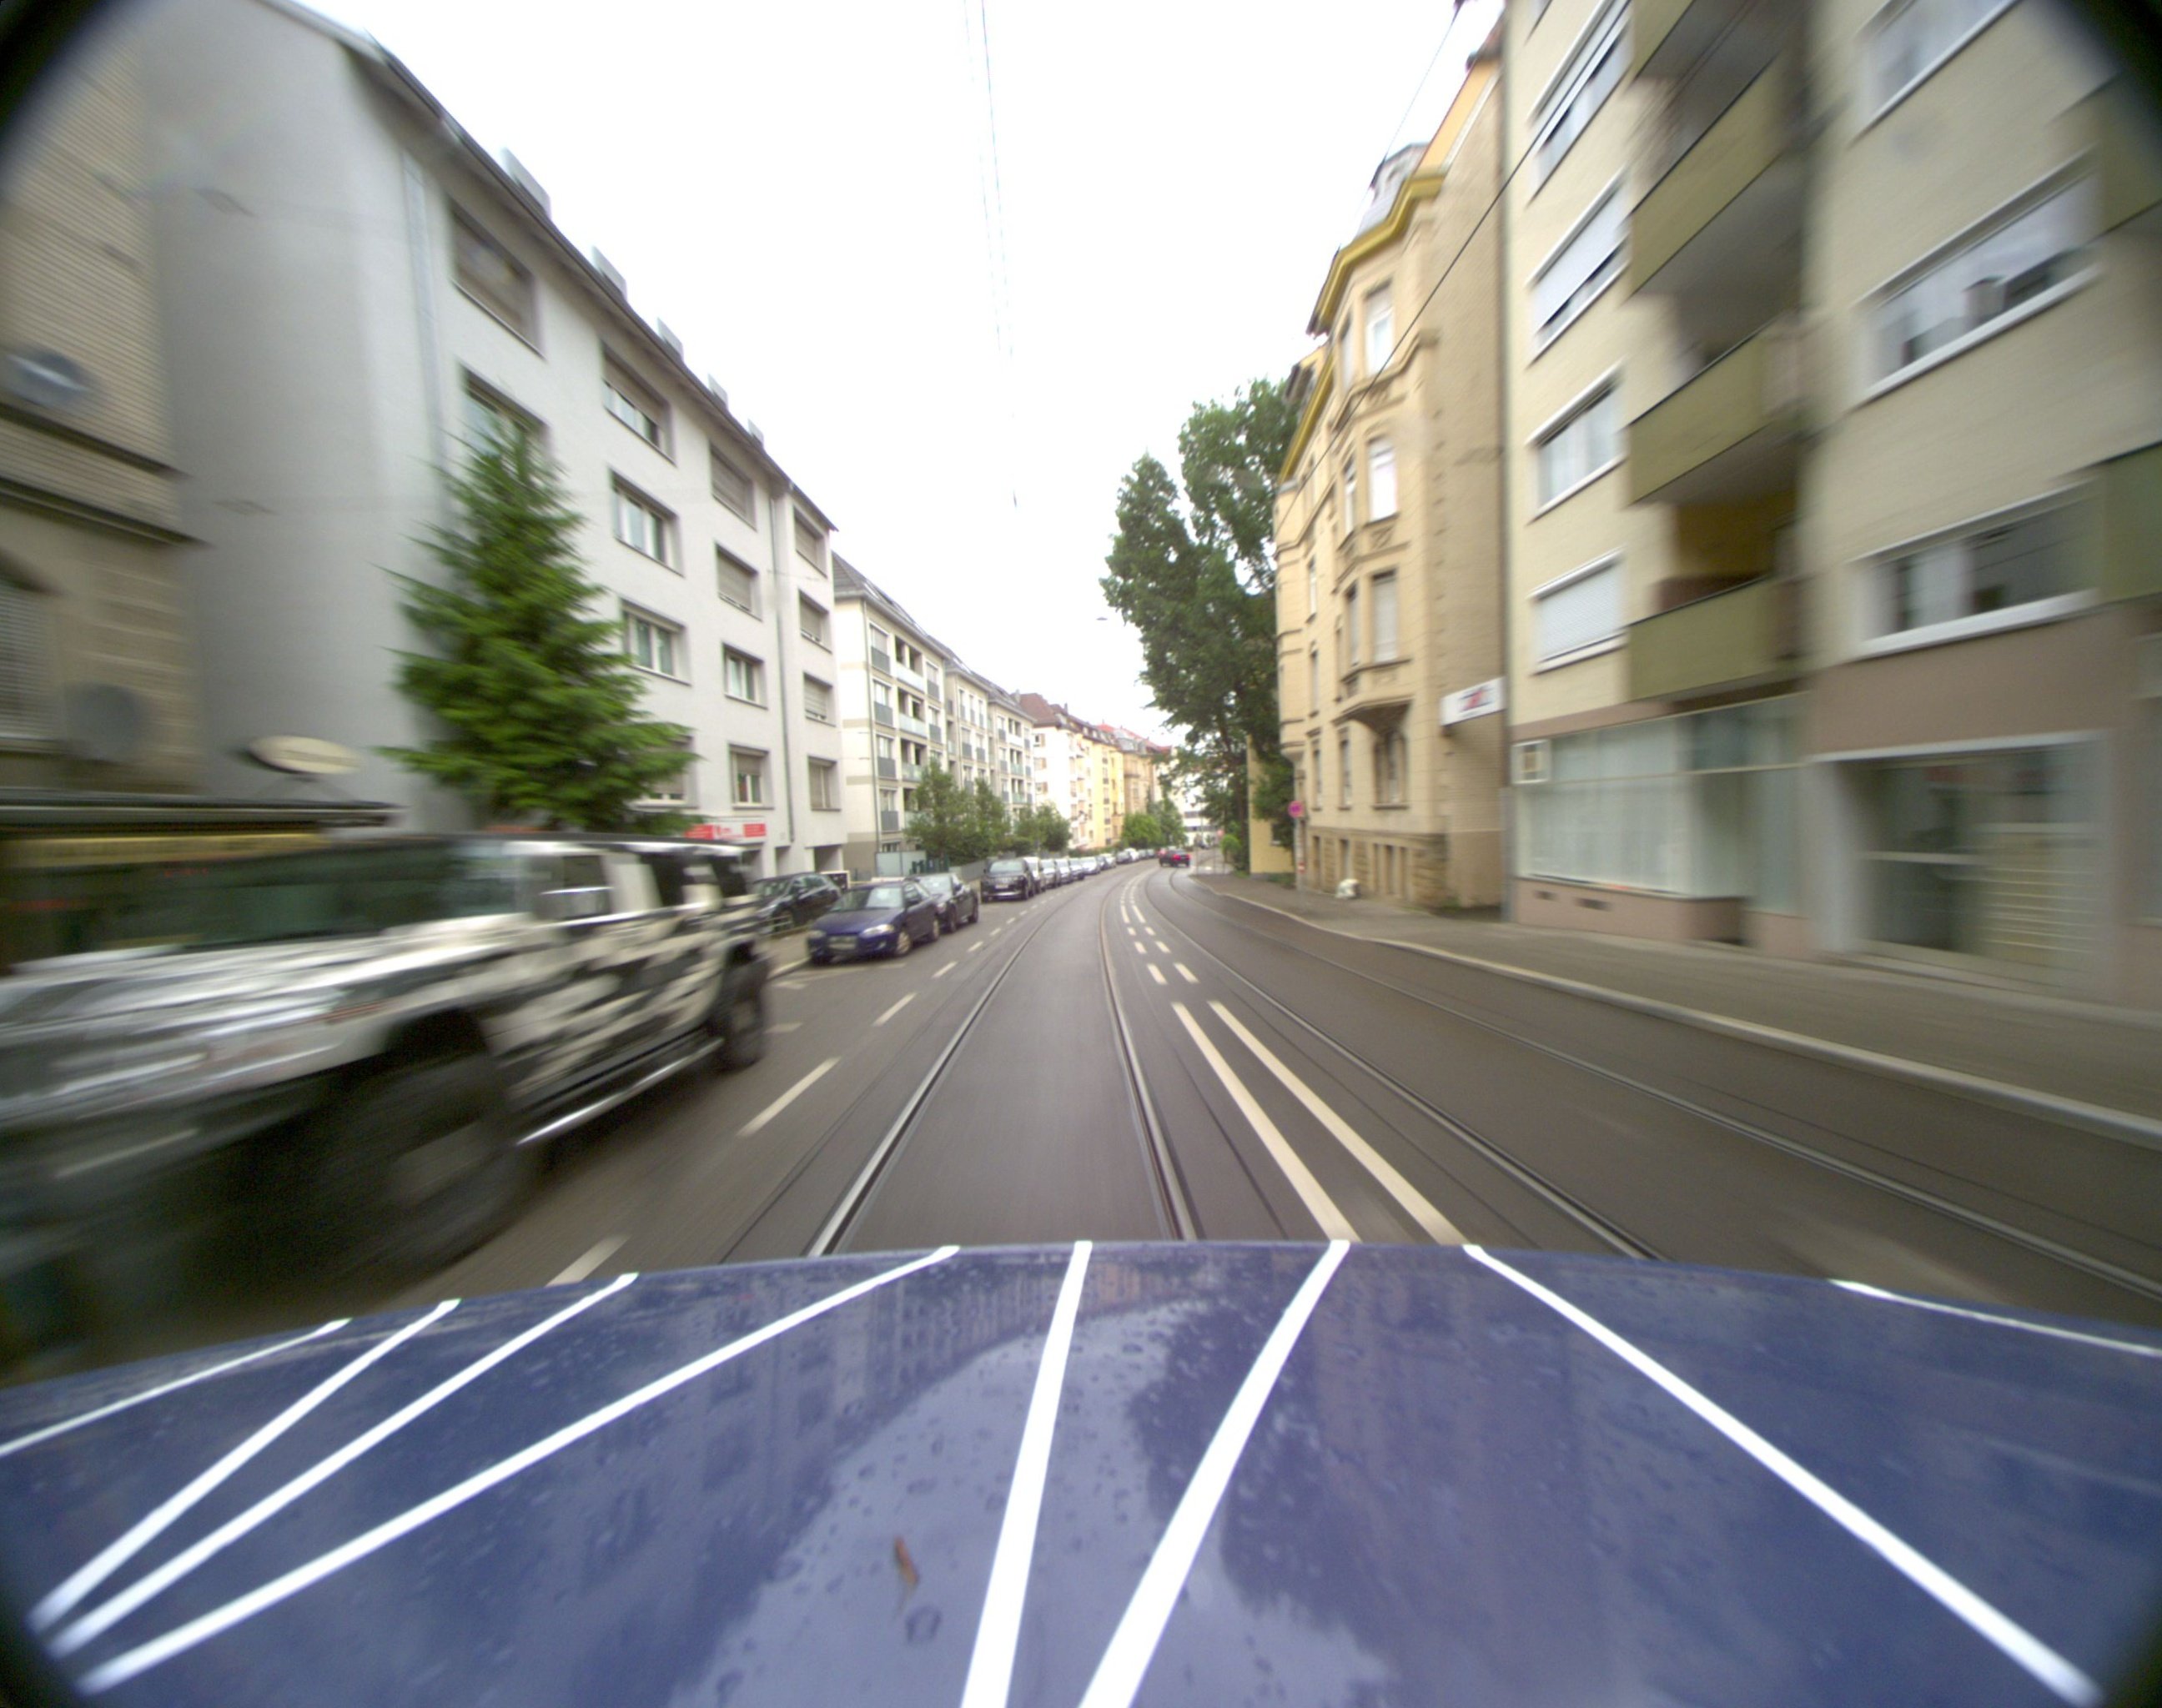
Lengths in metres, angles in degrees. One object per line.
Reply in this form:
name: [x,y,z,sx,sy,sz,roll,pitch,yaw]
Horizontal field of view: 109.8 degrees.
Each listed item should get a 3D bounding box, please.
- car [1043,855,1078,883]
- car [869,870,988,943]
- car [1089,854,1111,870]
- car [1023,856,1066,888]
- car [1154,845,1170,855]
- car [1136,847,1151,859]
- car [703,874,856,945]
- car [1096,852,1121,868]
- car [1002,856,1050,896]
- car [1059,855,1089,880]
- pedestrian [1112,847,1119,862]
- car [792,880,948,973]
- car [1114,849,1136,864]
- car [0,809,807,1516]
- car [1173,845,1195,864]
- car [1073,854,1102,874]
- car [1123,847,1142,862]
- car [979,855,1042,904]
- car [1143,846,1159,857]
car: [-1.300,0.973,50.023,1.836,1.618,4.664,-3,0,4]
car: [-3.712,1.238,19.337,1.798,1.428,4.611,-4,0,3]
car: [1.869,0.739,72.748,1.599,1.416,3.517,-3,0,9]
car: [-2.050,1.003,44.534,1.836,1.646,4.688,-3,1,5]
car: [12.158,-0.569,113.821,1.555,1.360,3.127,-4,1,19]
car: [8.391,-0.165,101.710,1.589,1.434,3.478,-4,1,12]
car: [-7.761,1.369,20.066,1.816,1.418,4.155,-5,0,8]
car: [2.854,0.624,77.456,1.721,1.458,4.393,-3,0,11]
car: [-2.674,1.027,38.014,1.782,1.784,4.472,-3,0,3]
car: [-0.487,0.951,55.727,1.980,1.575,4.566,-3,0,1]
pedestrian: [4.172,0.080,91.052,0.716,1.703,0.665,0,2,15]
car: [-3.899,1.288,14.747,1.682,1.330,3.883,-4,0,3]
car: [5.124,0.259,87.972,1.797,1.444,4.106,-4,1,15]
car: [-3.779,0.964,4.840,2.134,2.002,5.349,-5,0,-2]
car: [10.149,0.015,75.074,2.068,1.668,4.772,-1,2,7]
car: [0.612,0.819,65.150,1.862,1.507,4.791,-3,0,8]
car: [6.331,0.028,92.860,1.797,1.613,3.870,-4,1,12]
car: [-2.963,1.040,32.957,1.947,1.785,4.821,-4,1,2]
car: [9.884,-0.311,107.259,1.657,1.360,3.638,-4,1,13]
